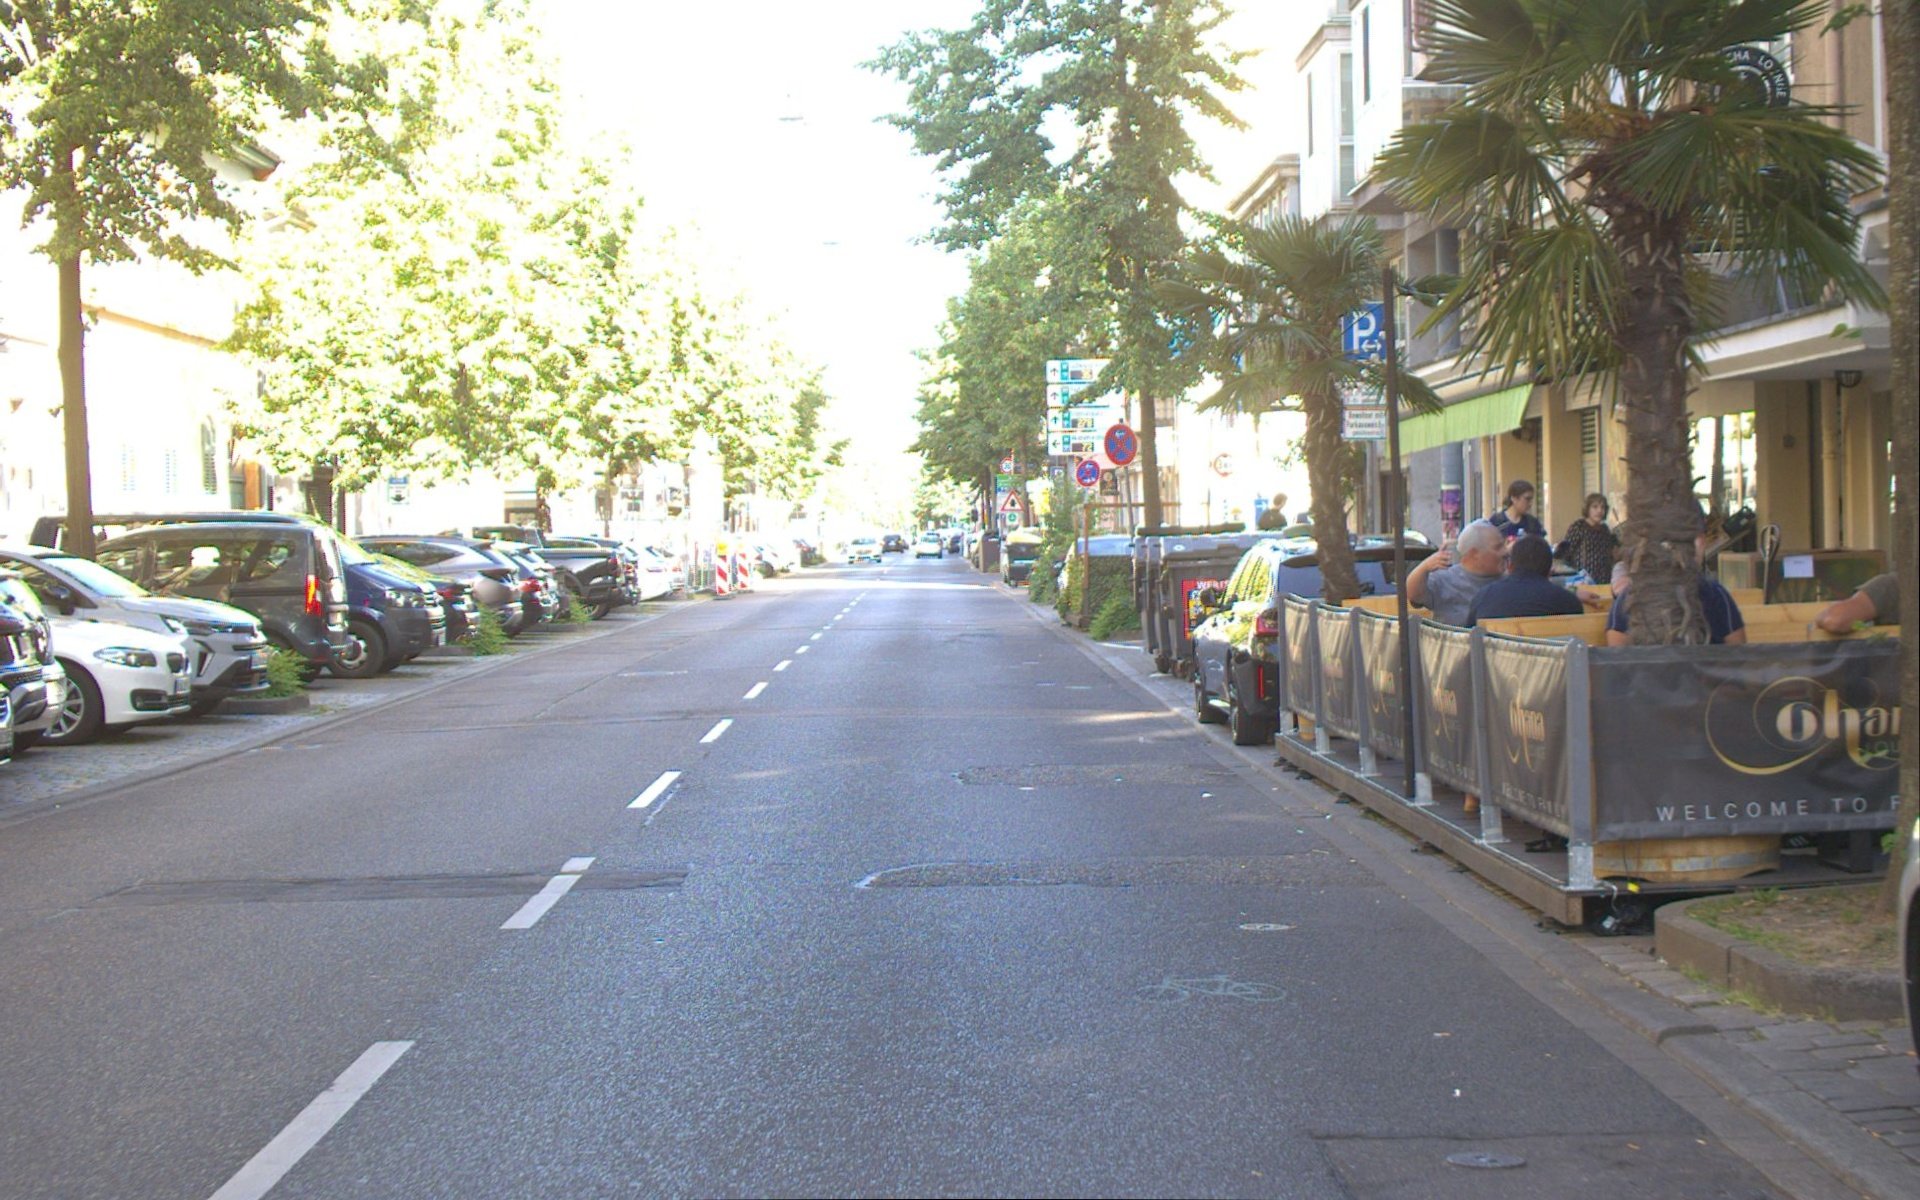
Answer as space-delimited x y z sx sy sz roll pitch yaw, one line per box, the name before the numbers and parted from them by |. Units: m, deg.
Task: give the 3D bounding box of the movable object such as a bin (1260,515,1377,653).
movable object such as a bin | 3.804 -0.181 36.585 1.077 1.426 1.295 -1 1 0

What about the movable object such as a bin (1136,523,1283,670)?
movable object such as a bin | 2.557 -0.048 35.417 1.399 1.449 1.146 -1 1 0

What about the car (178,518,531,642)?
car | -8.580 -0.296 48.944 4.680 1.706 1.808 0 1 1

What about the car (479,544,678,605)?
car | -9.206 -0.628 83.216 4.680 1.407 1.808 0 1 -3

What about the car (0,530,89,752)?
car | -8.827 0.292 25.342 4.339 1.576 1.809 0 1 0

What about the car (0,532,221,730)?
car | -8.406 0.239 27.759 4.466 1.535 1.917 0 1 -1

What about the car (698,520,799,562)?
car | -8.950 -2.508 145.693 3.987 1.688 2.000 -1 1 4

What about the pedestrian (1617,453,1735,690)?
pedestrian | 5.199 -0.209 24.974 0.502 1.690 0.630 -2 1 -37

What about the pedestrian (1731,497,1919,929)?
pedestrian | 3.466 0.388 12.686 1.056 1.531 0.892 -1 1 4

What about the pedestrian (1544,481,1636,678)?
pedestrian | 5.343 -0.175 29.181 0.616 1.636 0.762 -1 1 1

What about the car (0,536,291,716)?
car | -8.395 0.215 30.535 4.466 1.535 1.916 0 1 3

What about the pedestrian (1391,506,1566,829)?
pedestrian | 2.544 0.313 16.945 0.650 1.531 0.980 -1 1 -2

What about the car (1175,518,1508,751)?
car | 2.732 0.181 25.696 1.822 1.467 4.912 -3 1 0

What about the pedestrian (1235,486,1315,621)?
pedestrian | 4.571 -0.671 49.822 0.926 1.929 0.760 -1 1 25

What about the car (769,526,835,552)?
car | -9.807 -3.782 213.421 3.987 1.494 2.000 -1 1 -1

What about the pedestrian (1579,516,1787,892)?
pedestrian | 3.045 0.421 14.530 0.692 1.531 0.776 -1 1 1

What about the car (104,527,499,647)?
car | -8.246 -0.177 43.297 4.645 1.454 1.684 0 1 0

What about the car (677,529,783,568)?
car | -8.857 -2.005 132.787 3.987 1.385 2.000 -1 1 -1

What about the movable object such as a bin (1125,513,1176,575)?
movable object such as a bin | 5.100 -1.501 92.209 1.205 1.622 1.498 -2 1 -2

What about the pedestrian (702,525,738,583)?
pedestrian | -7.072 -1.354 101.393 0.792 1.701 0.767 -1 1 -33

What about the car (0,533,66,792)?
car | -7.913 0.377 20.829 4.466 1.535 1.916 0 1 2

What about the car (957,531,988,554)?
car | 0.829 -3.891 231.968 1.993 1.503 4.000 0 0 -1

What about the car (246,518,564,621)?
car | -8.707 -0.481 54.195 4.680 1.566 1.808 0 1 1

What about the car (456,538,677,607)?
car | -8.581 -0.619 75.261 4.680 1.460 1.808 0 1 -3

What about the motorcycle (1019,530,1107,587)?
motorcycle | 2.530 -1.027 84.443 1.977 1.325 0.912 -2 1 -12

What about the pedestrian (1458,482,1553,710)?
pedestrian | 4.133 -0.038 26.068 0.616 1.690 0.762 -1 1 5

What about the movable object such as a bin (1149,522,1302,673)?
movable object such as a bin | 2.637 -0.037 34.254 1.399 1.449 1.146 -1 1 0

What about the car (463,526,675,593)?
car | -8.829 -0.921 77.881 4.680 1.460 1.808 0 1 -3

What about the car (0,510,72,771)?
car | -8.443 0.266 23.314 4.339 1.703 1.917 0 1 0

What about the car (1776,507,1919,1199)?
car | 3.037 0.576 6.274 1.822 1.591 4.842 -3 1 0

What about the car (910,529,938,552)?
car | -2.319 -3.845 220.545 1.792 1.406 4.000 -1 1 -1

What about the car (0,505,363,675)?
car | -8.874 -0.118 37.199 4.466 1.766 1.916 0 1 1

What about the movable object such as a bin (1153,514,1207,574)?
movable object such as a bin | 5.820 -1.476 90.843 1.270 1.525 1.177 -2 1 -2

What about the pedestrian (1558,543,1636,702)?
pedestrian | 4.746 0.164 25.598 0.443 1.159 0.500 -1 1 24

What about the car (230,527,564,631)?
car | -8.419 -0.326 51.671 4.680 1.514 1.808 0 1 1

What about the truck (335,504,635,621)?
truck | -8.509 -0.693 61.888 5.084 1.931 2.000 -2 1 -1

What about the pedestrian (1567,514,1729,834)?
pedestrian | 3.393 0.350 16.919 0.712 1.531 0.769 -1 1 14

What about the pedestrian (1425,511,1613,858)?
pedestrian | 2.553 0.368 15.646 0.750 1.531 0.807 -1 1 14

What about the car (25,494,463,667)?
car | -8.294 -0.241 40.119 4.680 1.943 1.916 0 1 1

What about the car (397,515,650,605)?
car | -8.509 -0.786 67.205 4.680 1.687 1.808 0 1 1

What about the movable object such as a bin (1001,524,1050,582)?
movable object such as a bin | 1.809 -1.311 94.775 1.143 1.556 1.459 -2 1 8

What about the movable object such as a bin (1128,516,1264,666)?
movable object such as a bin | 2.497 -0.106 36.580 1.330 1.537 1.146 -1 1 0

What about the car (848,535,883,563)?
car | -5.175 -2.791 188.874 1.802 1.430 4.410 -3 1 -1
